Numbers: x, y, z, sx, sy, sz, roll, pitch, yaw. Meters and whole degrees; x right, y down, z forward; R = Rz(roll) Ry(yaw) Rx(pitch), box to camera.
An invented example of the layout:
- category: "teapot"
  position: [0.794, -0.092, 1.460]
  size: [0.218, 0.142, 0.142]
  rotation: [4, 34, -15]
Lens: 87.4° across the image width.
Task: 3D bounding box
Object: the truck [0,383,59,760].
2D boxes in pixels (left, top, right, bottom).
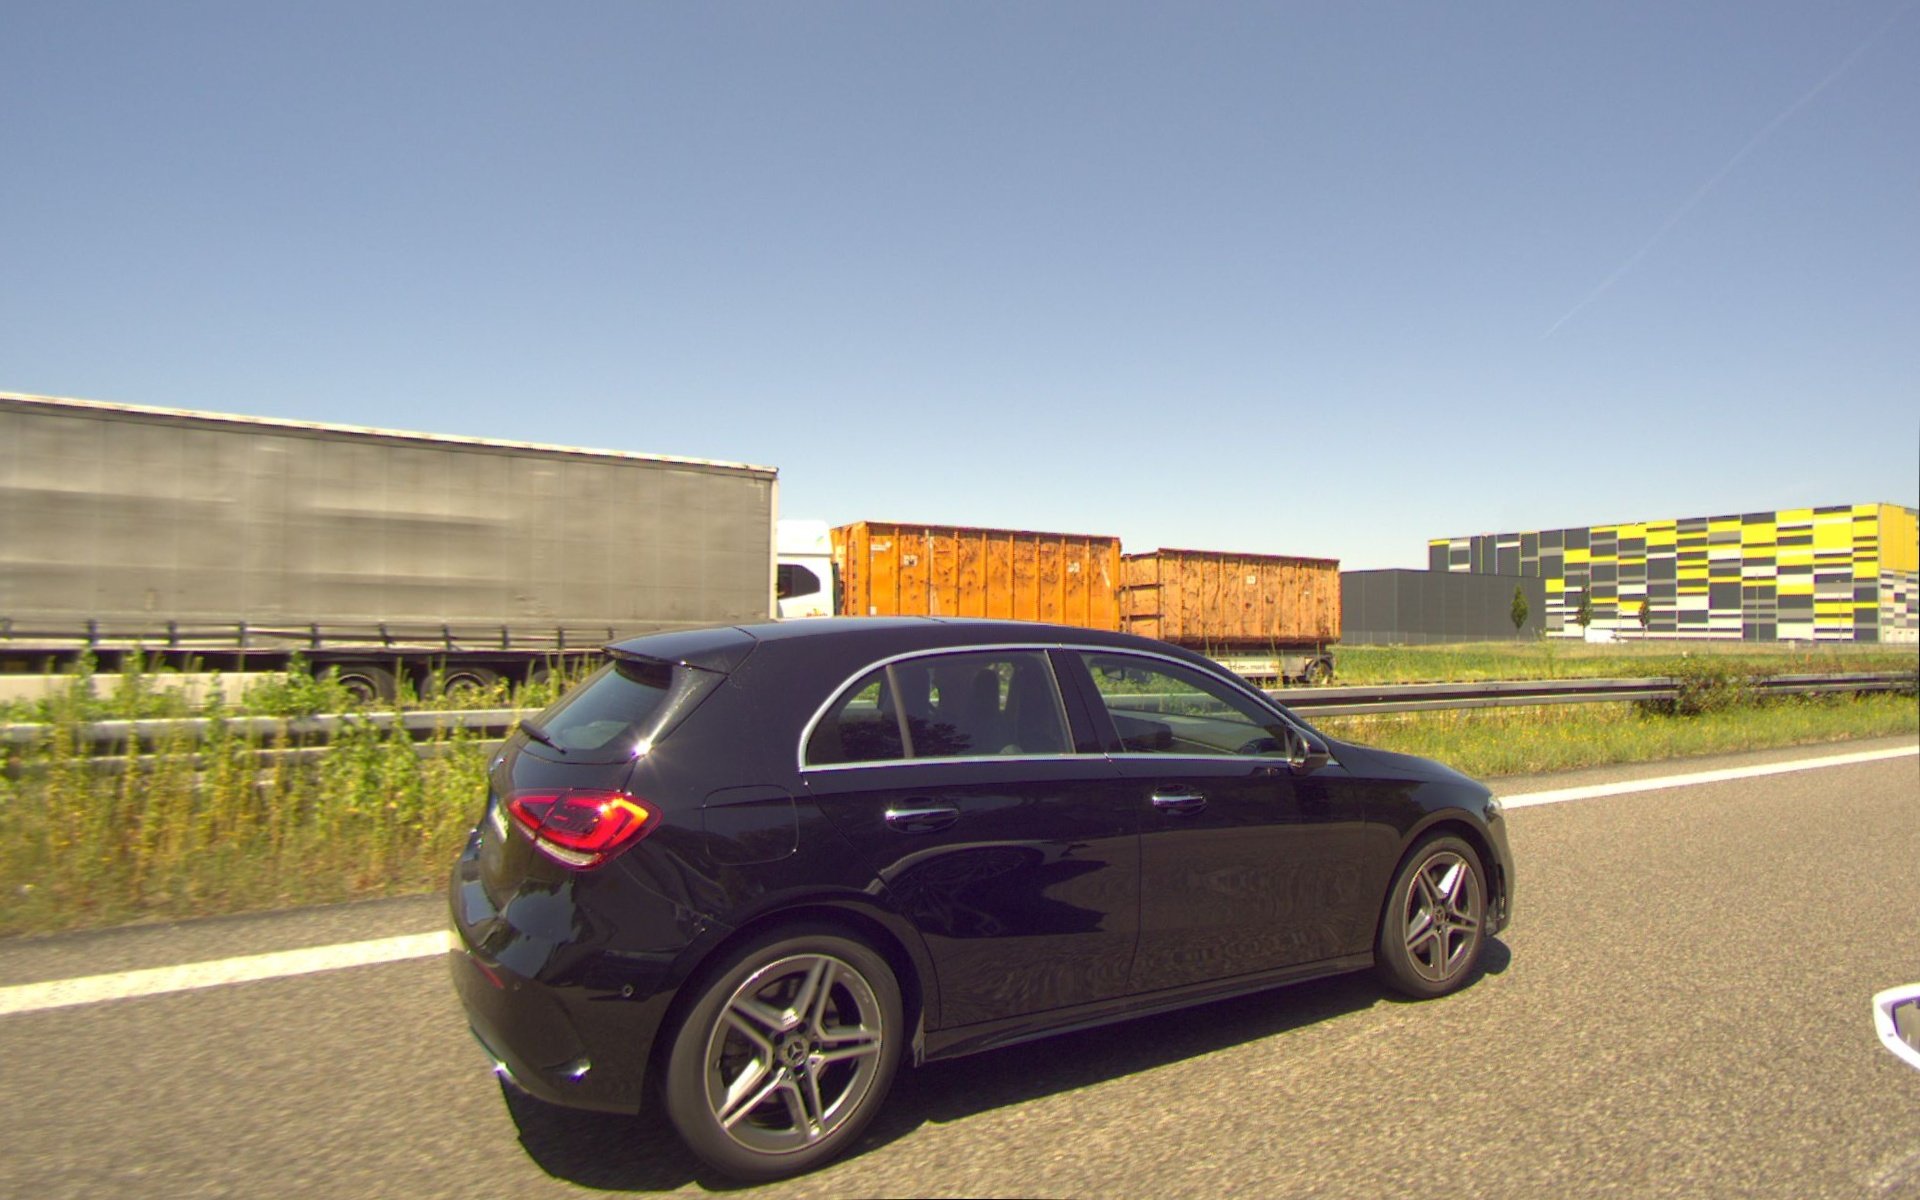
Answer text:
- category: "truck"
  position: [-14.718, -0.394, 10.746]
  size: [6.899, 4.484, 3.146]
  rotation: [2, -2, -30]

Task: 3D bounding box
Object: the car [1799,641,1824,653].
- category: "car"
  position: [129.442, 7.137, 152.707]
  size: [4.066, 1.750, 1.675]
  rotation: [2, -2, -32]

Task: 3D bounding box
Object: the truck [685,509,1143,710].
- category: "truck"
  position: [-0.738, 0.392, 23.451]
  size: [10.701, 3.935, 2.637]
  rotation: [2, -4, -31]

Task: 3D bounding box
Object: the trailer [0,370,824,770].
- category: "trailer"
  position: [-8.673, -0.190, 14.322]
  size: [13.171, 4.480, 3.181]
  rotation: [2, -3, -31]

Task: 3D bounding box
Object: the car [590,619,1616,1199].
- category: "car"
  position: [0.717, 0.837, 4.198]
  size: [4.004, 1.430, 1.784]
  rotation: [2, -1, -30]

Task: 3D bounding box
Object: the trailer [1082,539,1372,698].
- category: "trailer"
  position: [7.682, 0.650, 28.425]
  size: [8.560, 3.970, 2.647]
  rotation: [2, -4, -31]

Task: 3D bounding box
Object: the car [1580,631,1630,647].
- category: "car"
  position: [88.775, 5.332, 138.326]
  size: [5.506, 2.206, 2.106]
  rotation: [-1, -2, 28]
